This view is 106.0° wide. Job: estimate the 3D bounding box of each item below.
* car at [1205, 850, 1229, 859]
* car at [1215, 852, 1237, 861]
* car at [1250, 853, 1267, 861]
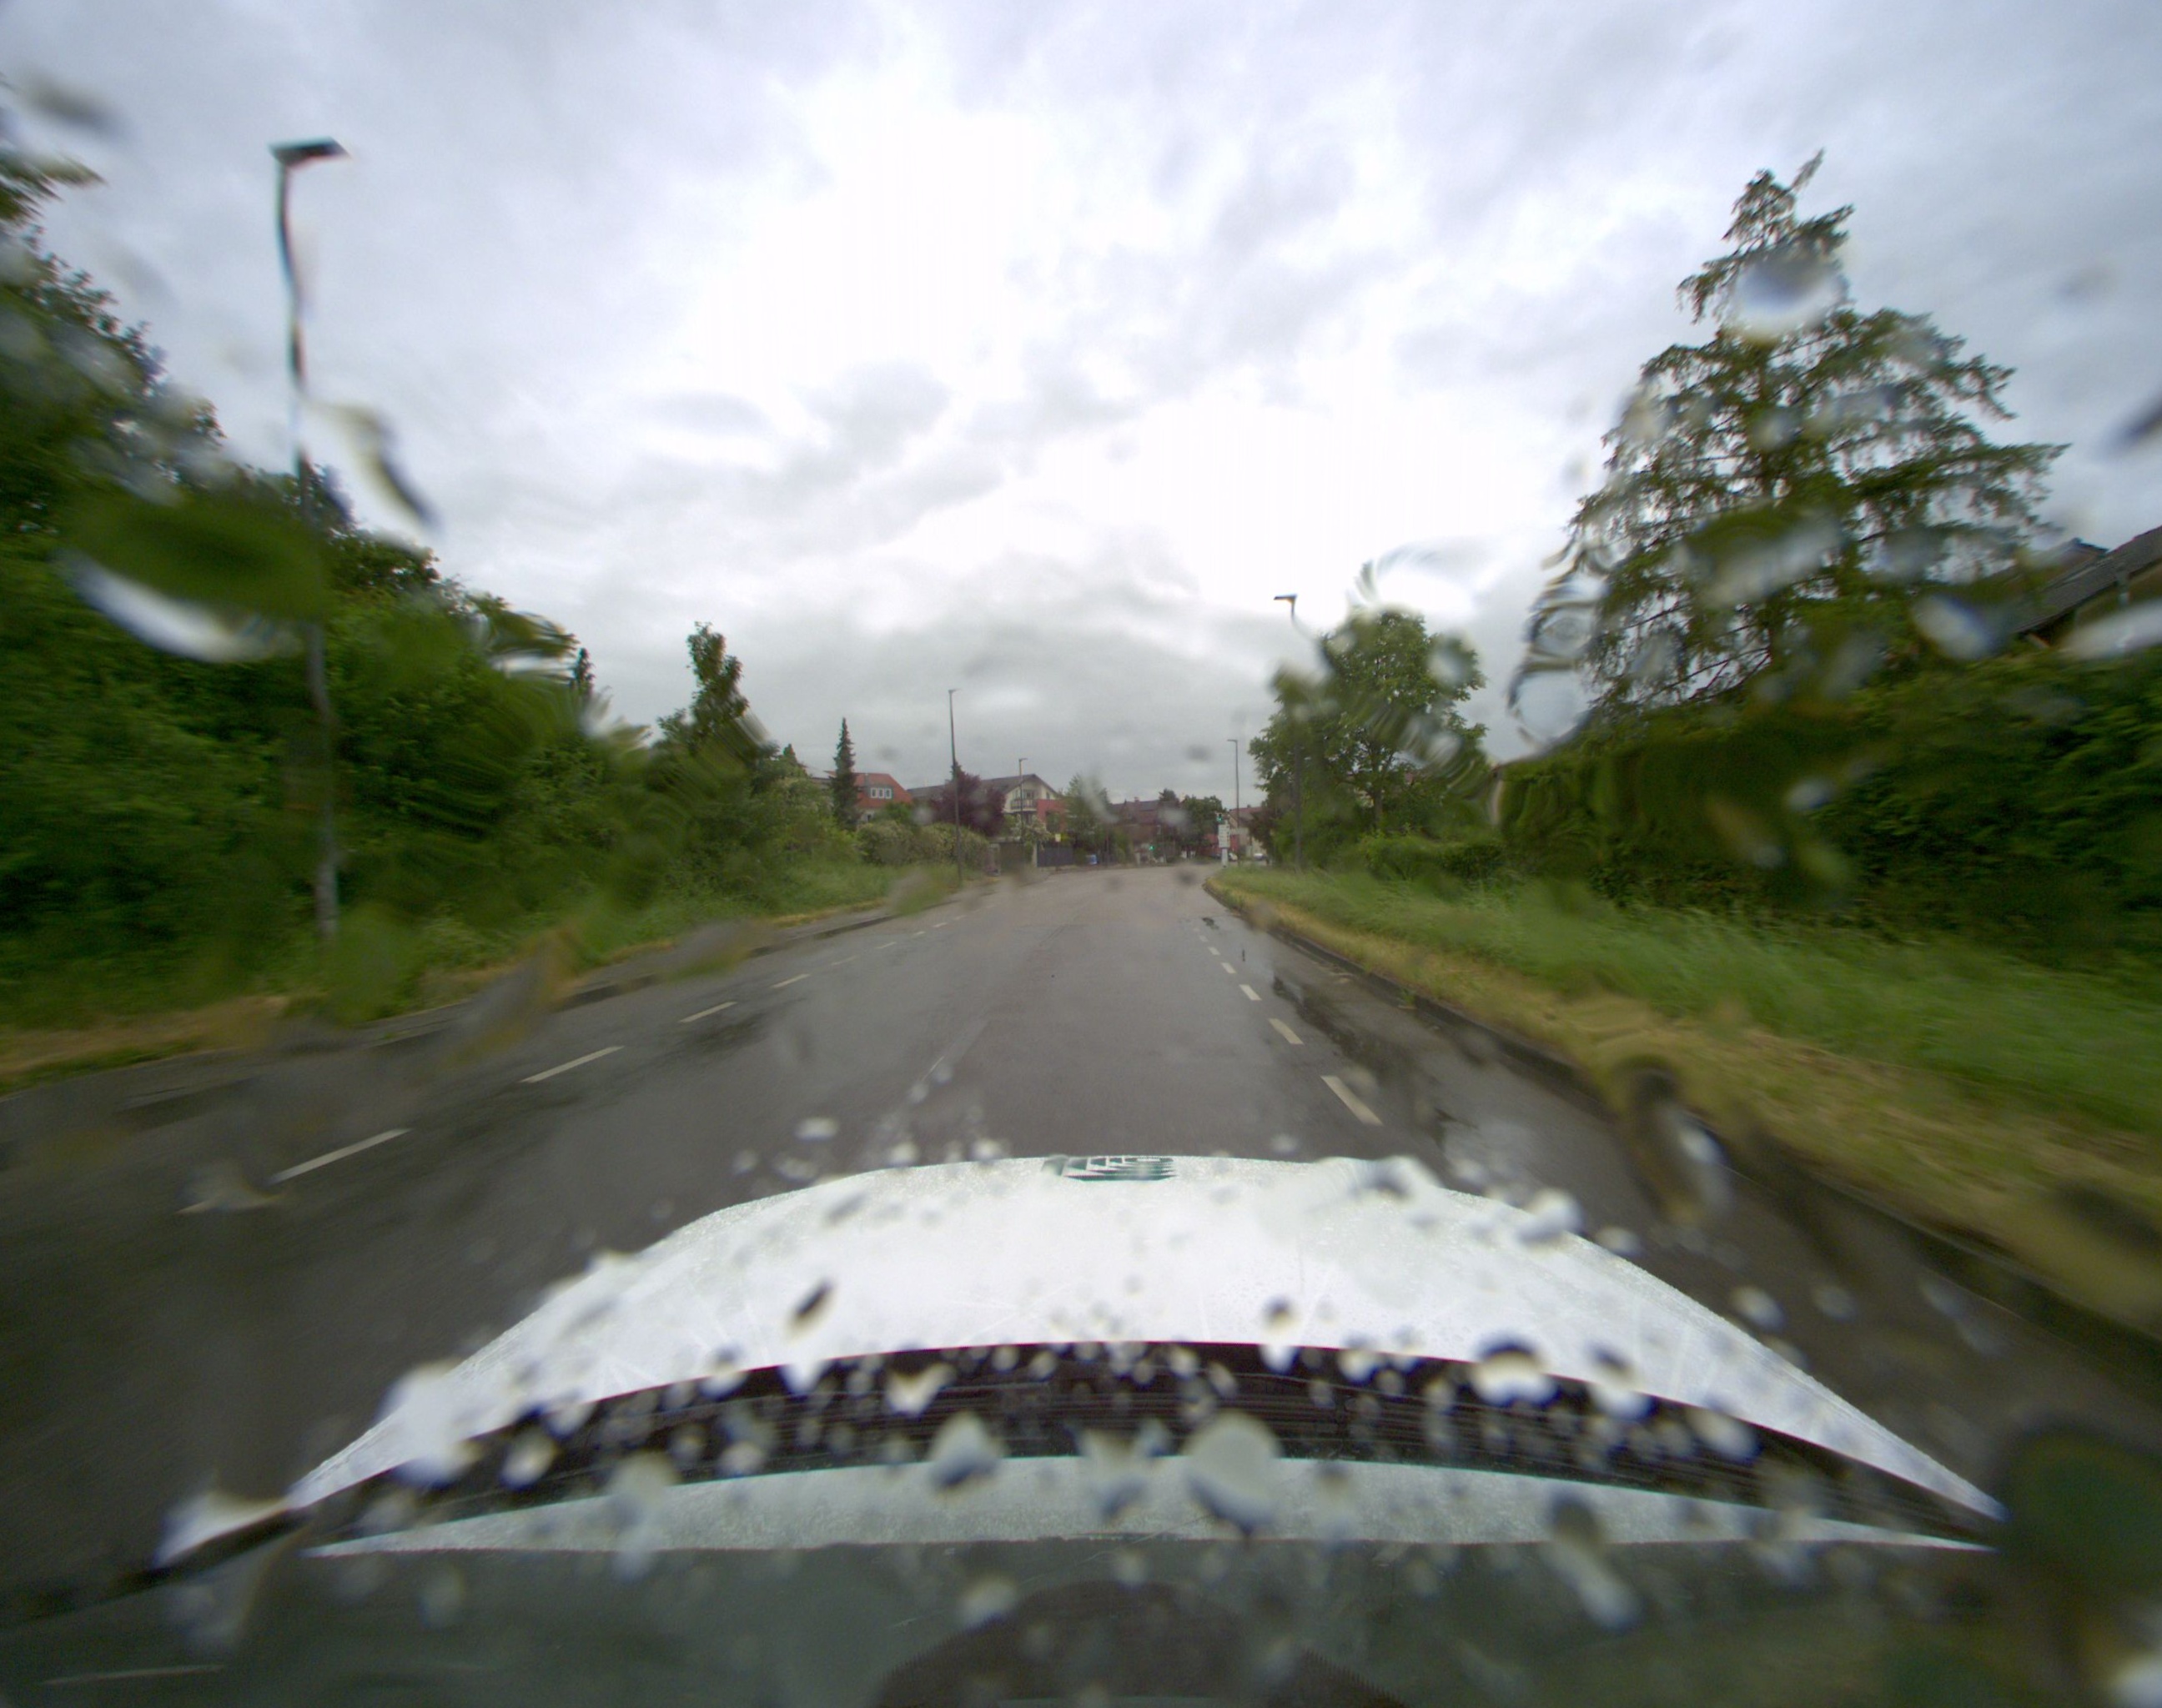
[{"bbox_3d":[22.746,0.110,136.412,3.541,1.506,1.867,1,1,37],"label":"car"},{"bbox_3d":[25.245,0.459,141.724,3.427,1.479,1.601,-2,-1,35],"label":"car"},{"bbox_3d":[31.359,0.440,143.425,1.611,1.355,4.137,0,1,32],"label":"car"}]
